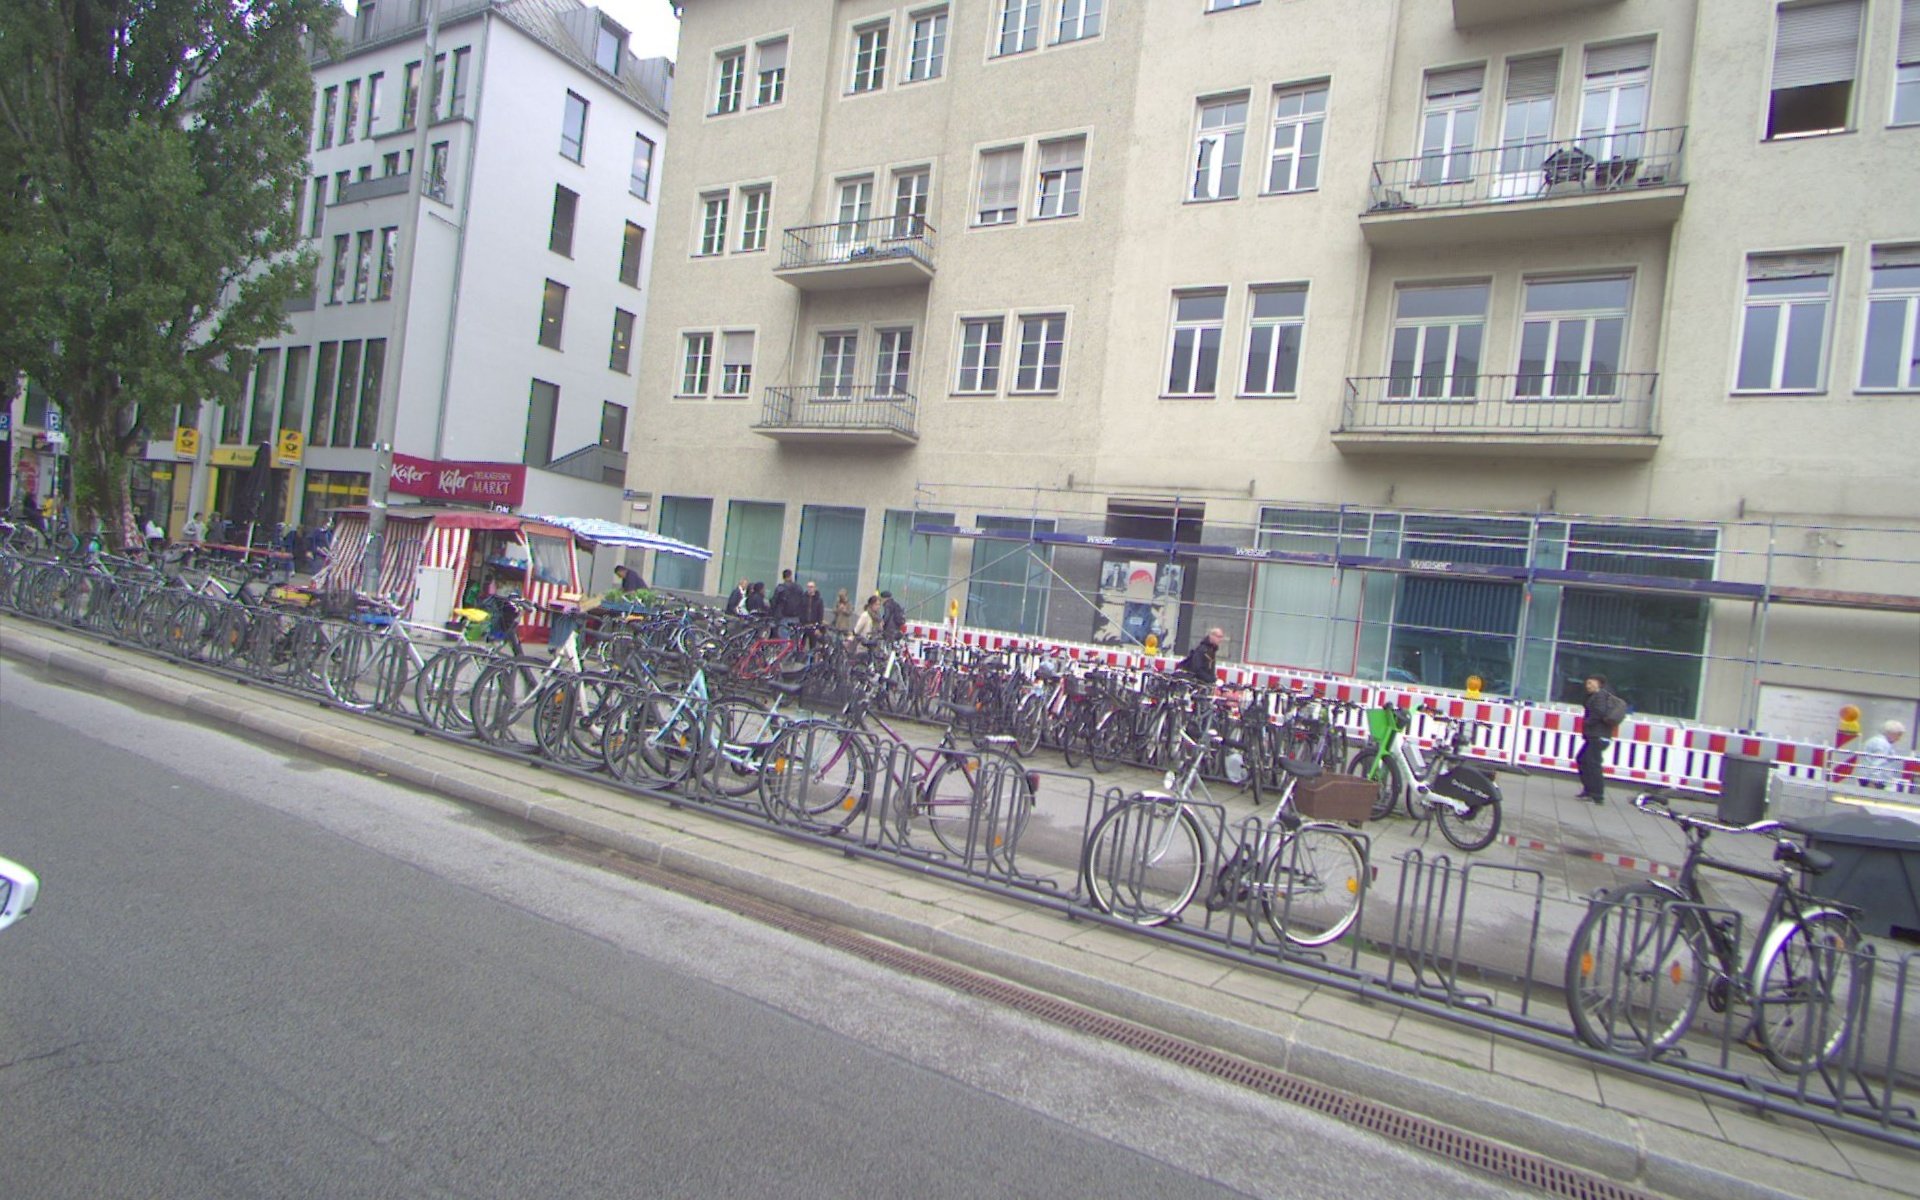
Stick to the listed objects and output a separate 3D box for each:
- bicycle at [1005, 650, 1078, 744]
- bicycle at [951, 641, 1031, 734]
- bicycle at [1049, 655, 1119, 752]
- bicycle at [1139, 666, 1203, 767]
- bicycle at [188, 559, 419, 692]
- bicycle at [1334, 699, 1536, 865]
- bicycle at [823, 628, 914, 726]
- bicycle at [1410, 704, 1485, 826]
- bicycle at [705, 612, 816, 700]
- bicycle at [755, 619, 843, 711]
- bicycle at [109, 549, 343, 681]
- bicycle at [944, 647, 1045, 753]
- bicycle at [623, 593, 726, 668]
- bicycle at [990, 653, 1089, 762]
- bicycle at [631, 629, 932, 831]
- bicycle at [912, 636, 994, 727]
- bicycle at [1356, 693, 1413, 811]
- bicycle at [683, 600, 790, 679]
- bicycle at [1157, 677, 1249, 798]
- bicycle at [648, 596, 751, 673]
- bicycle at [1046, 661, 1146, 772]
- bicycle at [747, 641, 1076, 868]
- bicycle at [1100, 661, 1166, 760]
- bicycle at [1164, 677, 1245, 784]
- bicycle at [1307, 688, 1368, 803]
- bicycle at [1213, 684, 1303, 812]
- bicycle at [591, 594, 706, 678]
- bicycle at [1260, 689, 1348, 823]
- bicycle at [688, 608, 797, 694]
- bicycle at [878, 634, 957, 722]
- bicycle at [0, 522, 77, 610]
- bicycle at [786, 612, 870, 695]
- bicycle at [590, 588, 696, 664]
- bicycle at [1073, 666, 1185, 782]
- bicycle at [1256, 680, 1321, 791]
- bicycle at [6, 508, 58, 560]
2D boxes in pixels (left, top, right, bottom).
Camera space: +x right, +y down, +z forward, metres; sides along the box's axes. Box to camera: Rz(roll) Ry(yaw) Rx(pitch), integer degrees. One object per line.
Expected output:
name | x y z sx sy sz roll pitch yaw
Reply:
bicycle | 1.060 1.207 12.847 0.403 1.091 1.452 6 0 22
bicycle | 0.422 1.103 12.999 0.403 1.091 1.535 6 0 23
bicycle | 1.583 1.267 12.658 0.403 1.091 1.452 6 0 22
bicycle | 2.576 1.376 12.205 0.403 1.091 1.452 6 0 22
bicycle | -6.596 0.274 10.196 1.779 1.021 0.384 11 -2 -21
bicycle | 4.110 1.541 8.867 0.404 1.091 1.754 6 0 -19
bicycle | -1.095 0.918 12.334 0.403 1.091 1.452 6 0 22
bicycle | 5.137 1.687 10.566 0.403 1.091 1.647 7 1 33
bicycle | -2.636 0.759 13.416 0.404 1.091 1.447 7 1 38
bicycle | -2.052 0.824 13.022 0.402 1.091 1.453 6 0 18
bicycle | -7.474 0.165 10.312 1.777 1.021 0.385 11 -2 -17
bicycle | 0.425 1.116 11.511 0.403 1.091 1.537 7 0 29
bicycle | -4.543 0.510 16.103 0.403 1.117 1.630 7 1 33
bicycle | 0.910 1.166 11.199 0.403 1.091 1.526 7 0 29
bicycle | -1.197 0.891 6.883 1.825 1.070 0.396 11 -2 -14
bicycle | -0.069 1.053 13.321 0.403 1.091 1.535 6 0 23
bicycle | 4.606 1.605 10.877 0.403 1.091 1.451 6 0 26
bicycle | -3.409 0.630 15.457 0.404 1.117 1.627 7 1 39
bicycle | 2.542 1.373 10.412 0.403 1.091 1.623 7 0 29
bicycle | -4.024 0.558 15.660 0.403 1.117 1.630 7 1 33
bicycle | 1.529 1.238 11.082 0.403 1.091 1.659 7 0 29
bicycle | -0.287 0.948 6.155 1.825 1.070 0.396 11 -2 -14
bicycle | 2.162 1.333 12.458 0.403 1.091 1.452 6 0 22
bicycle | 2.847 1.464 11.622 0.403 1.091 1.528 7 0 29
bicycle | 4.175 1.558 11.083 0.403 1.091 1.451 6 0 26
bicycle | 2.963 1.405 9.901 0.403 1.091 1.603 7 0 29
bicycle | -4.421 0.530 14.340 1.465 1.091 0.405 6 1 -44
bicycle | 3.320 1.440 9.633 0.403 1.091 1.653 7 0 29
bicycle | -2.957 0.717 13.787 0.404 1.091 1.478 7 1 35
bicycle | -0.557 1.034 13.701 0.403 1.091 1.452 6 0 22
bicycle | -13.260 -0.532 13.759 1.556 1.065 0.544 11 -2 -21
bicycle | -1.922 0.783 14.838 0.402 1.117 1.633 6 0 21
bicycle | -5.092 0.445 16.245 0.404 1.117 1.628 7 1 35
bicycle | 1.807 1.270 10.578 0.404 1.091 1.634 7 1 35
bicycle | 3.718 1.487 11.332 0.403 1.091 1.451 6 0 26
bicycle | -23.886 -1.698 25.891 1.606 1.174 0.478 7 0 32
